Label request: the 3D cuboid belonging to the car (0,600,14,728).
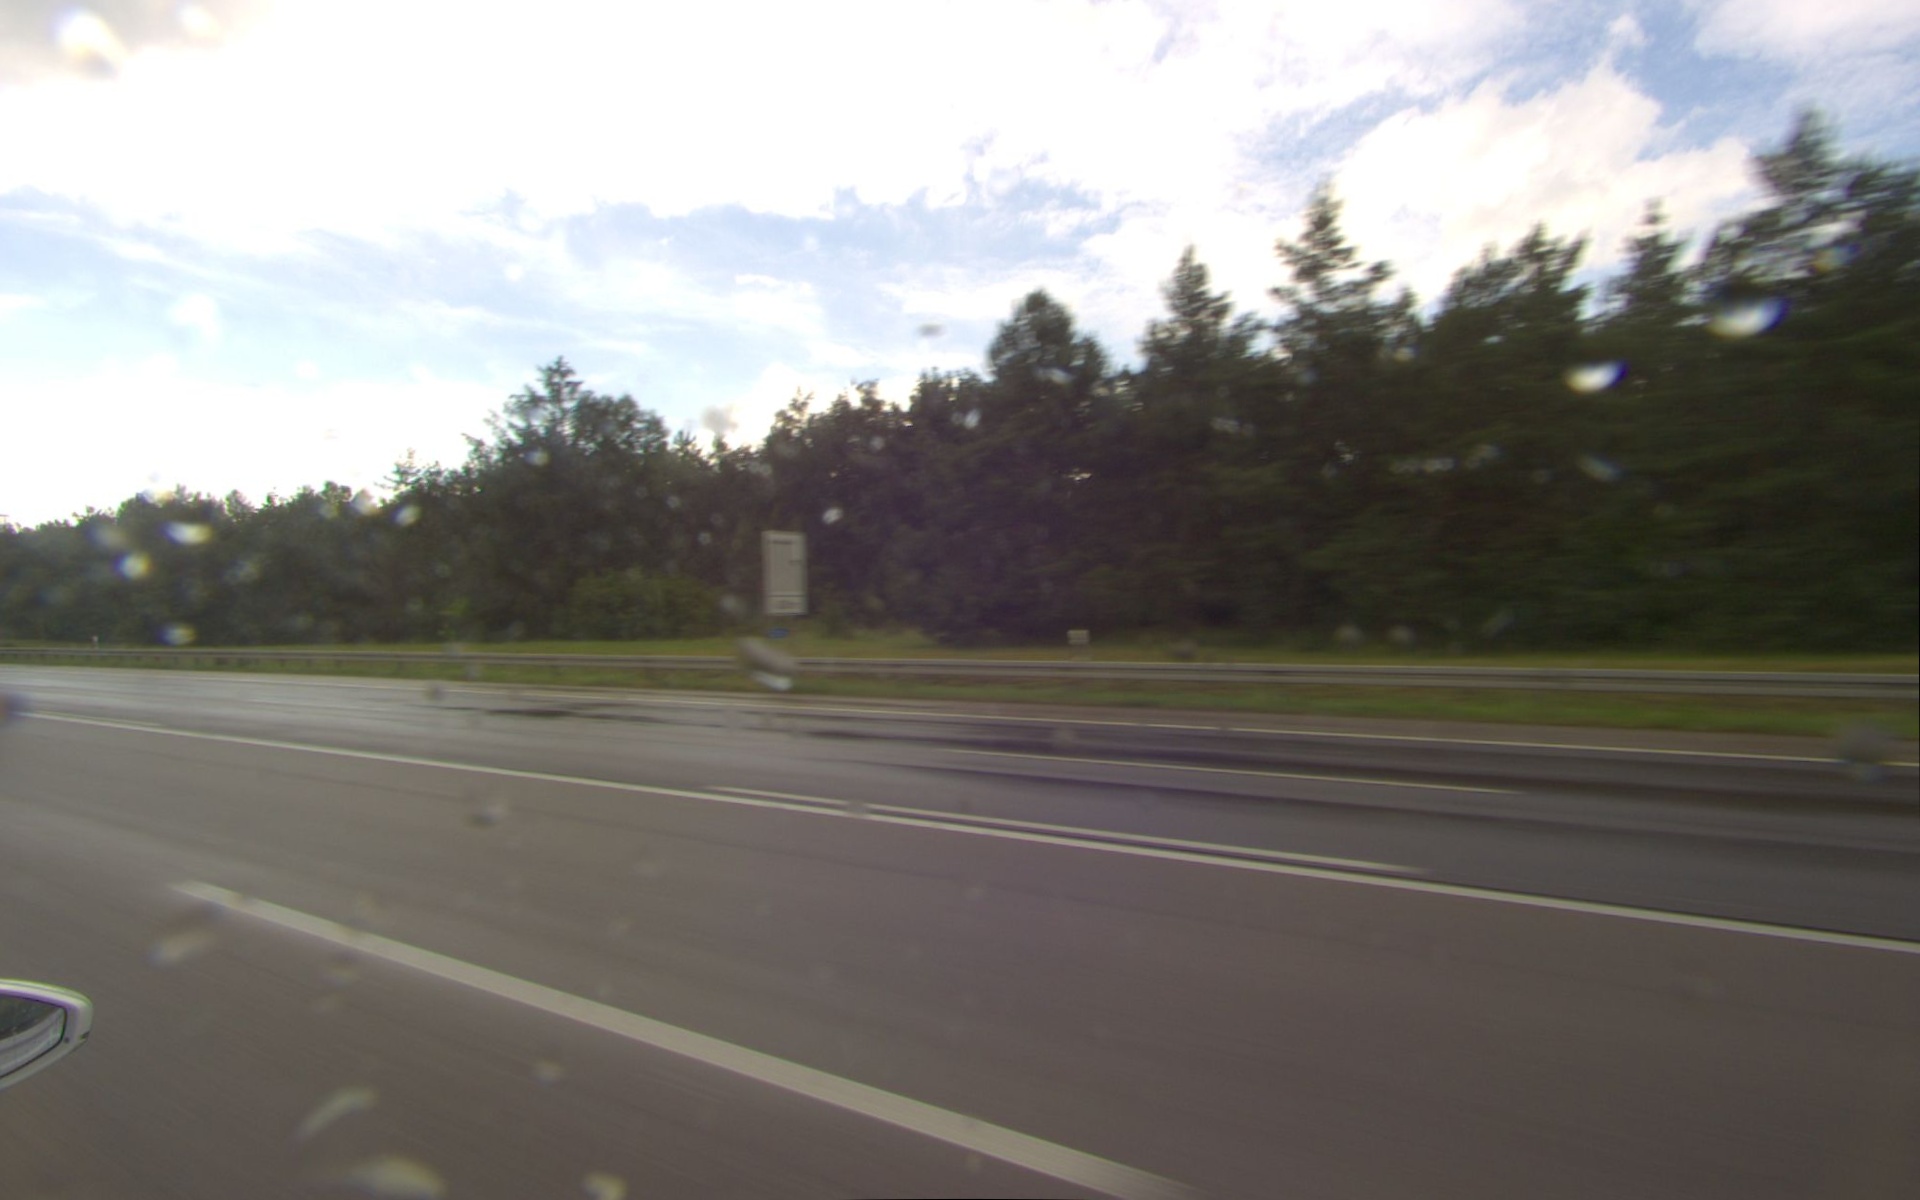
[{"bbox_3d":[-16.964,0.999,15.996,4.820,1.926,1.957,-1,-2,38],"label":"car"}]
